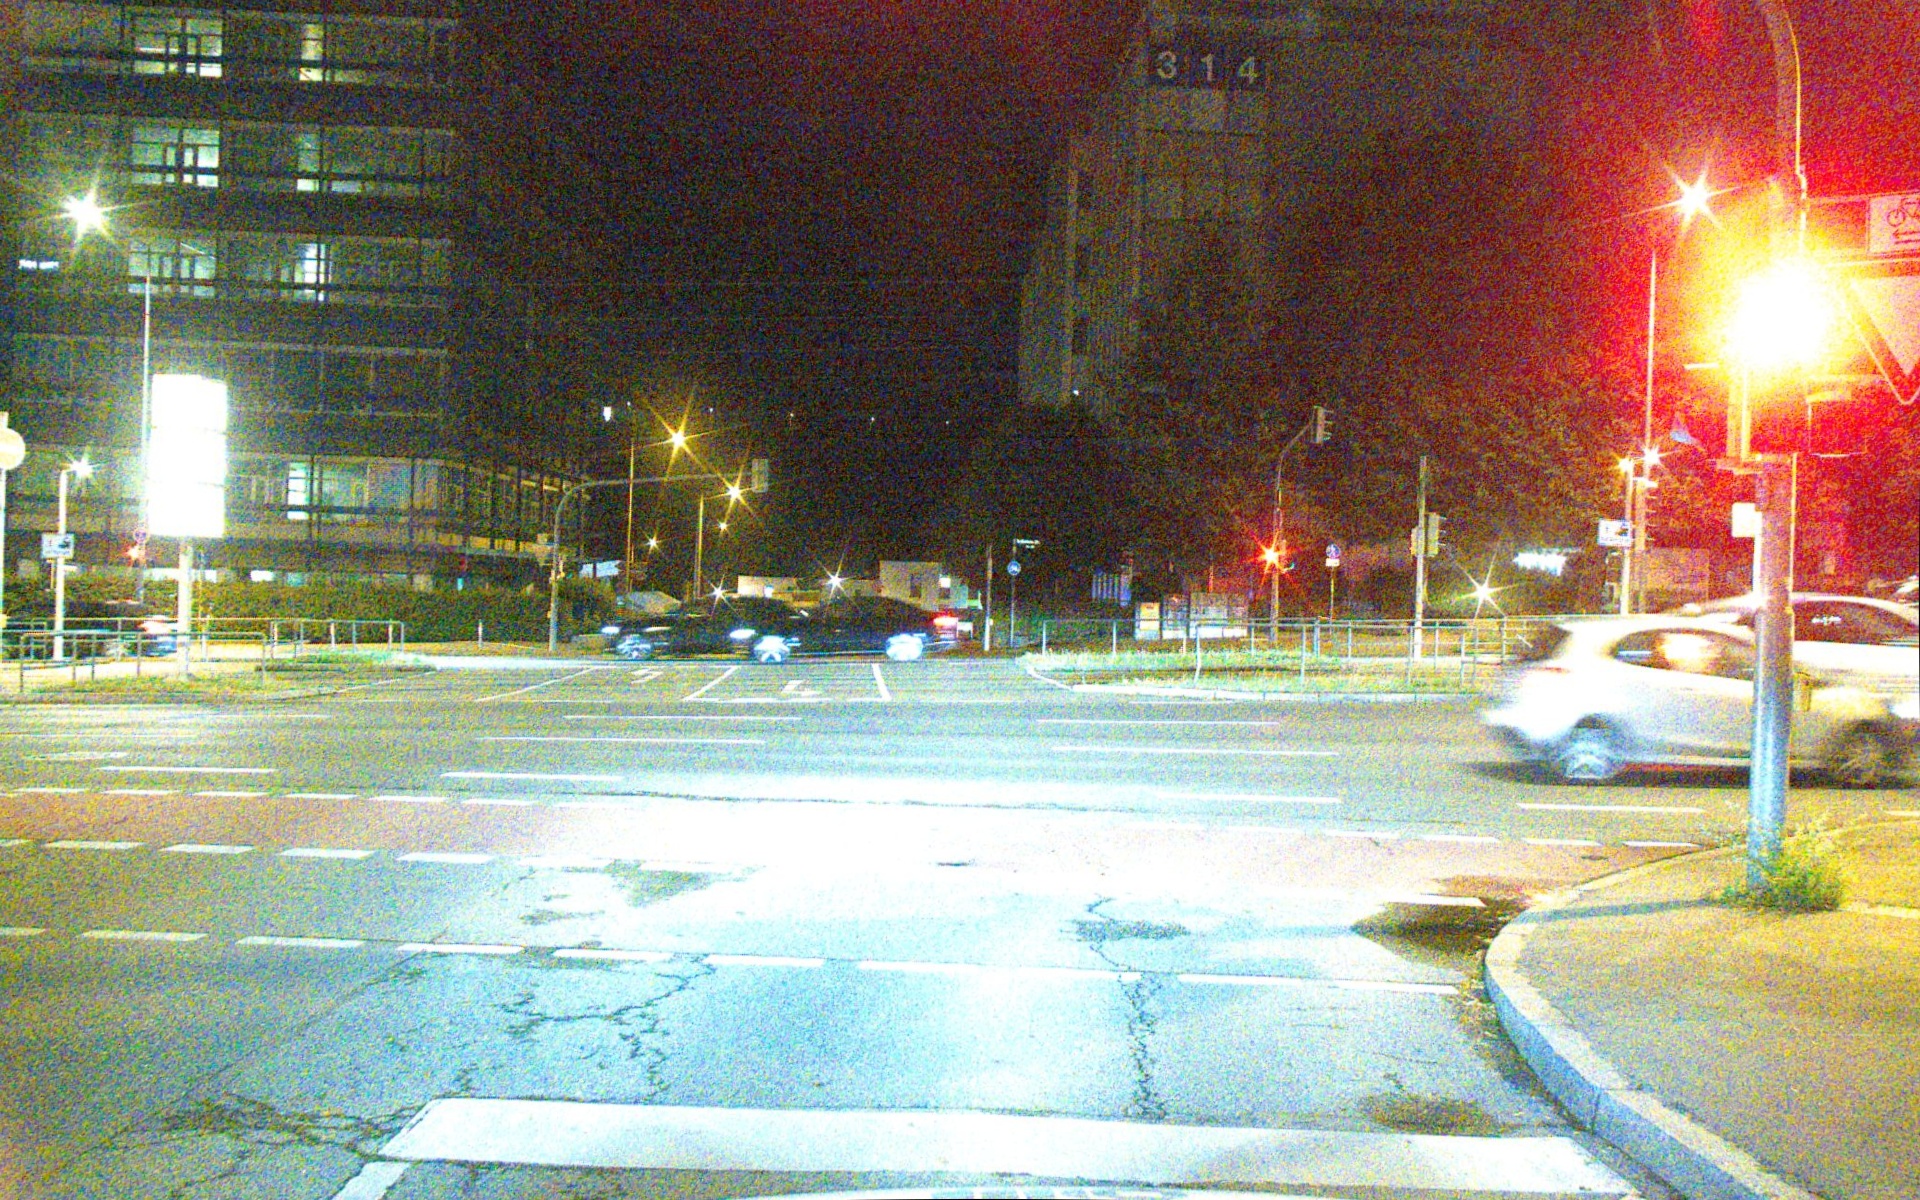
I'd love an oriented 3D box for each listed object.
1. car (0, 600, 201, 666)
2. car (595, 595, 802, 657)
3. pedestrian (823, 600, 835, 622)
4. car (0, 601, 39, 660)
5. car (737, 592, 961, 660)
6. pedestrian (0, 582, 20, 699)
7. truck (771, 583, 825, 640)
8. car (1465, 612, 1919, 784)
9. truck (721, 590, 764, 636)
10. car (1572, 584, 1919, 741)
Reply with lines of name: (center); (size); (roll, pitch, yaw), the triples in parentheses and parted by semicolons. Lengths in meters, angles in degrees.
car: (-20.058, 0.756, 38.074); (4.335, 1.445, 1.851); (-1, 0, 3)
car: (-6.379, 0.638, 40.670); (4.718, 1.445, 1.851); (-1, 0, 3)
pedestrian: (-11.659, 0.979, 147.414); (0.836, 1.945, 1.001); (2, -1, -18)
car: (-24.972, 0.764, 40.574); (3.790, 1.429, 1.769); (-1, 0, 3)
car: (-2.444, 0.577, 37.314); (4.838, 1.445, 1.851); (-1, 0, 3)
pedestrian: (-14.762, 0.599, 24.947); (0.663, 1.752, 0.706); (1, -1, 24)
truck: (-14.628, 1.027, 148.602); (3.307, 4.927, 7.868); (2, -1, -17)
car: (6.858, 0.867, 15.393); (3.820, 1.462, 1.745); (0, 1, 2)
truck: (-15.765, 0.944, 119.657); (2.377, 3.143, 6.414); (2, -1, -14)
car: (9.615, 0.661, 18.603); (4.818, 1.626, 1.745); (-1, 1, 2)
